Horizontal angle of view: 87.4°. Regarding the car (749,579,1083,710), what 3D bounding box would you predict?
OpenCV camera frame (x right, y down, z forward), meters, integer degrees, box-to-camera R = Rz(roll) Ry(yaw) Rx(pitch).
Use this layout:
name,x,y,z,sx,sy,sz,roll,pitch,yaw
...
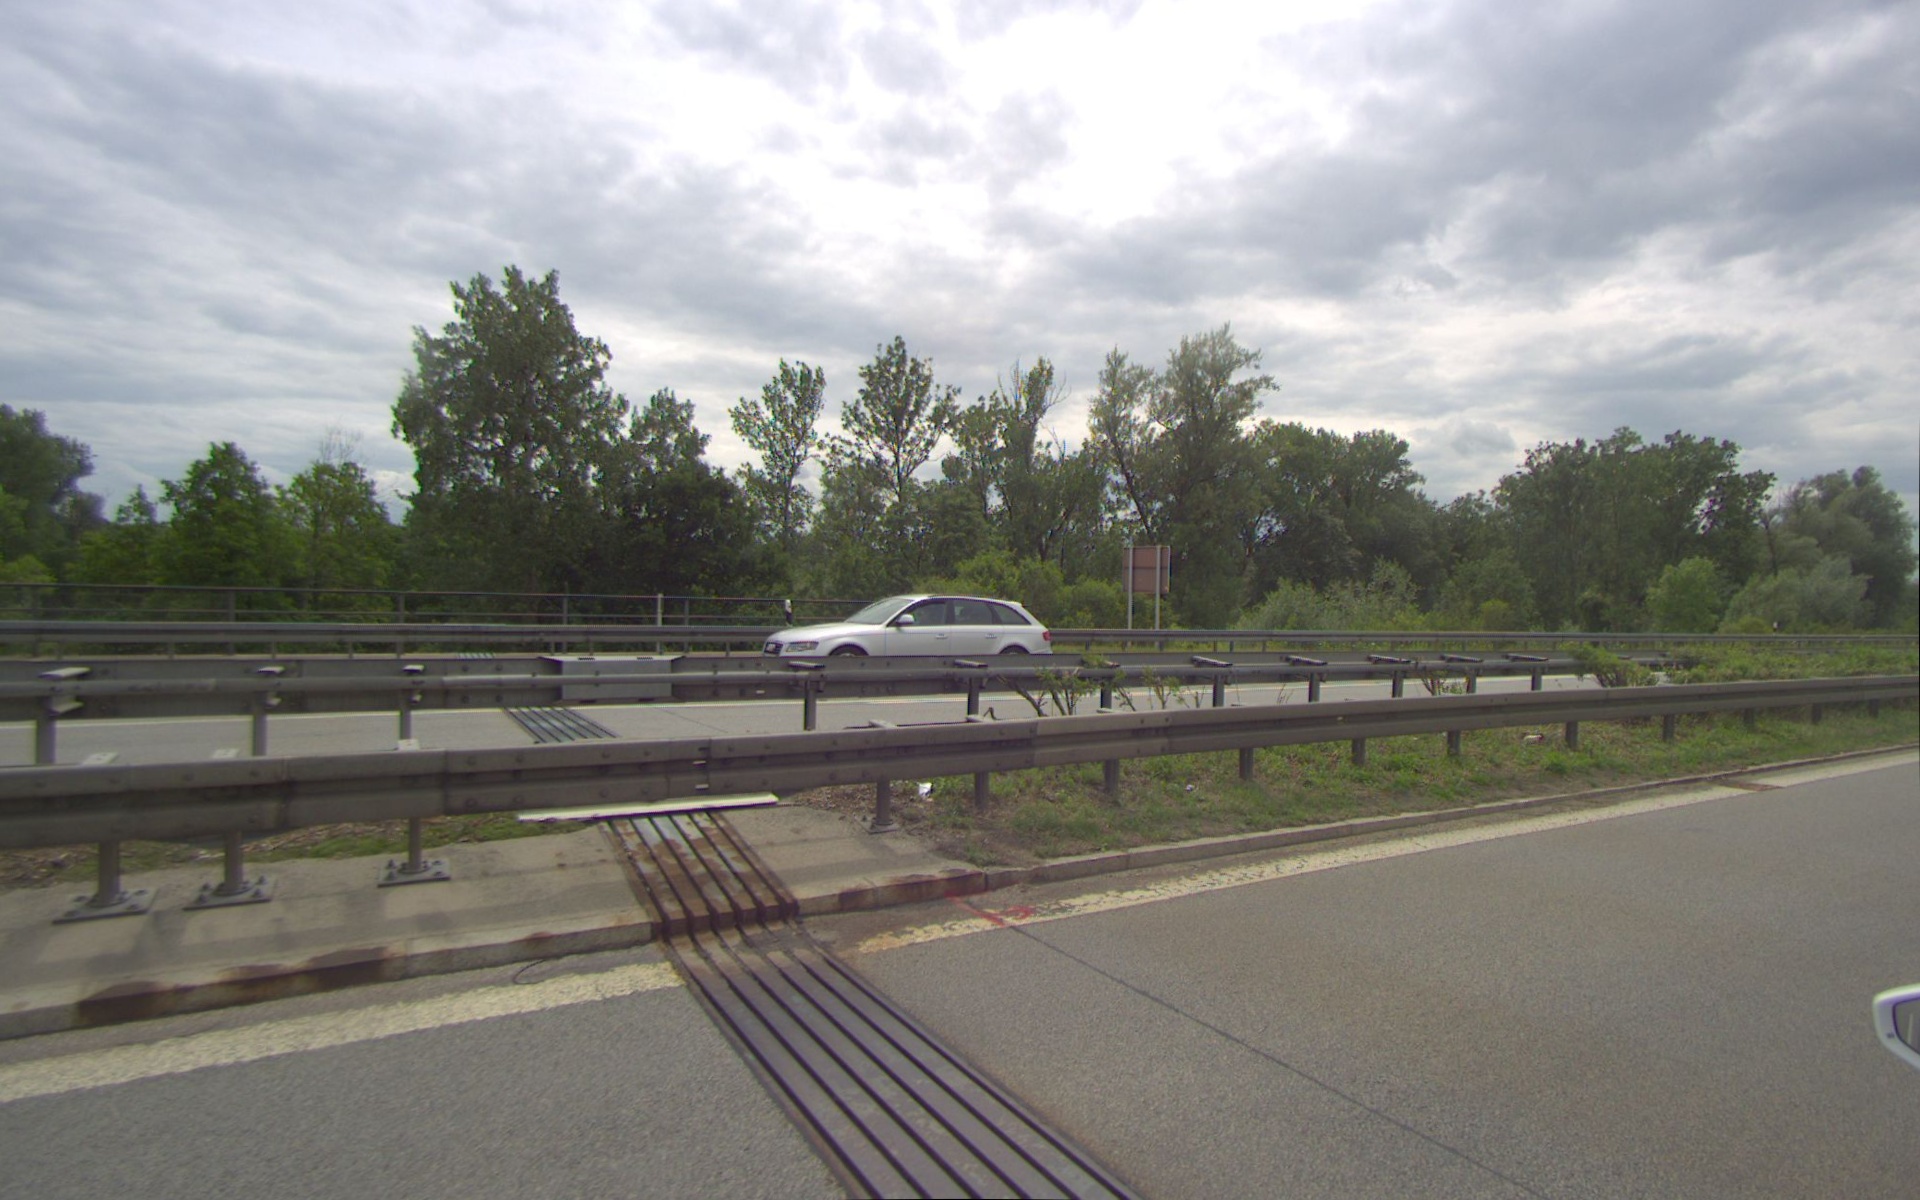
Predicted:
name,x,y,z,sx,sy,sz,roll,pitch,yaw
car,-0.581,0.629,15.357,4.923,1.738,1.634,1,0,-31
